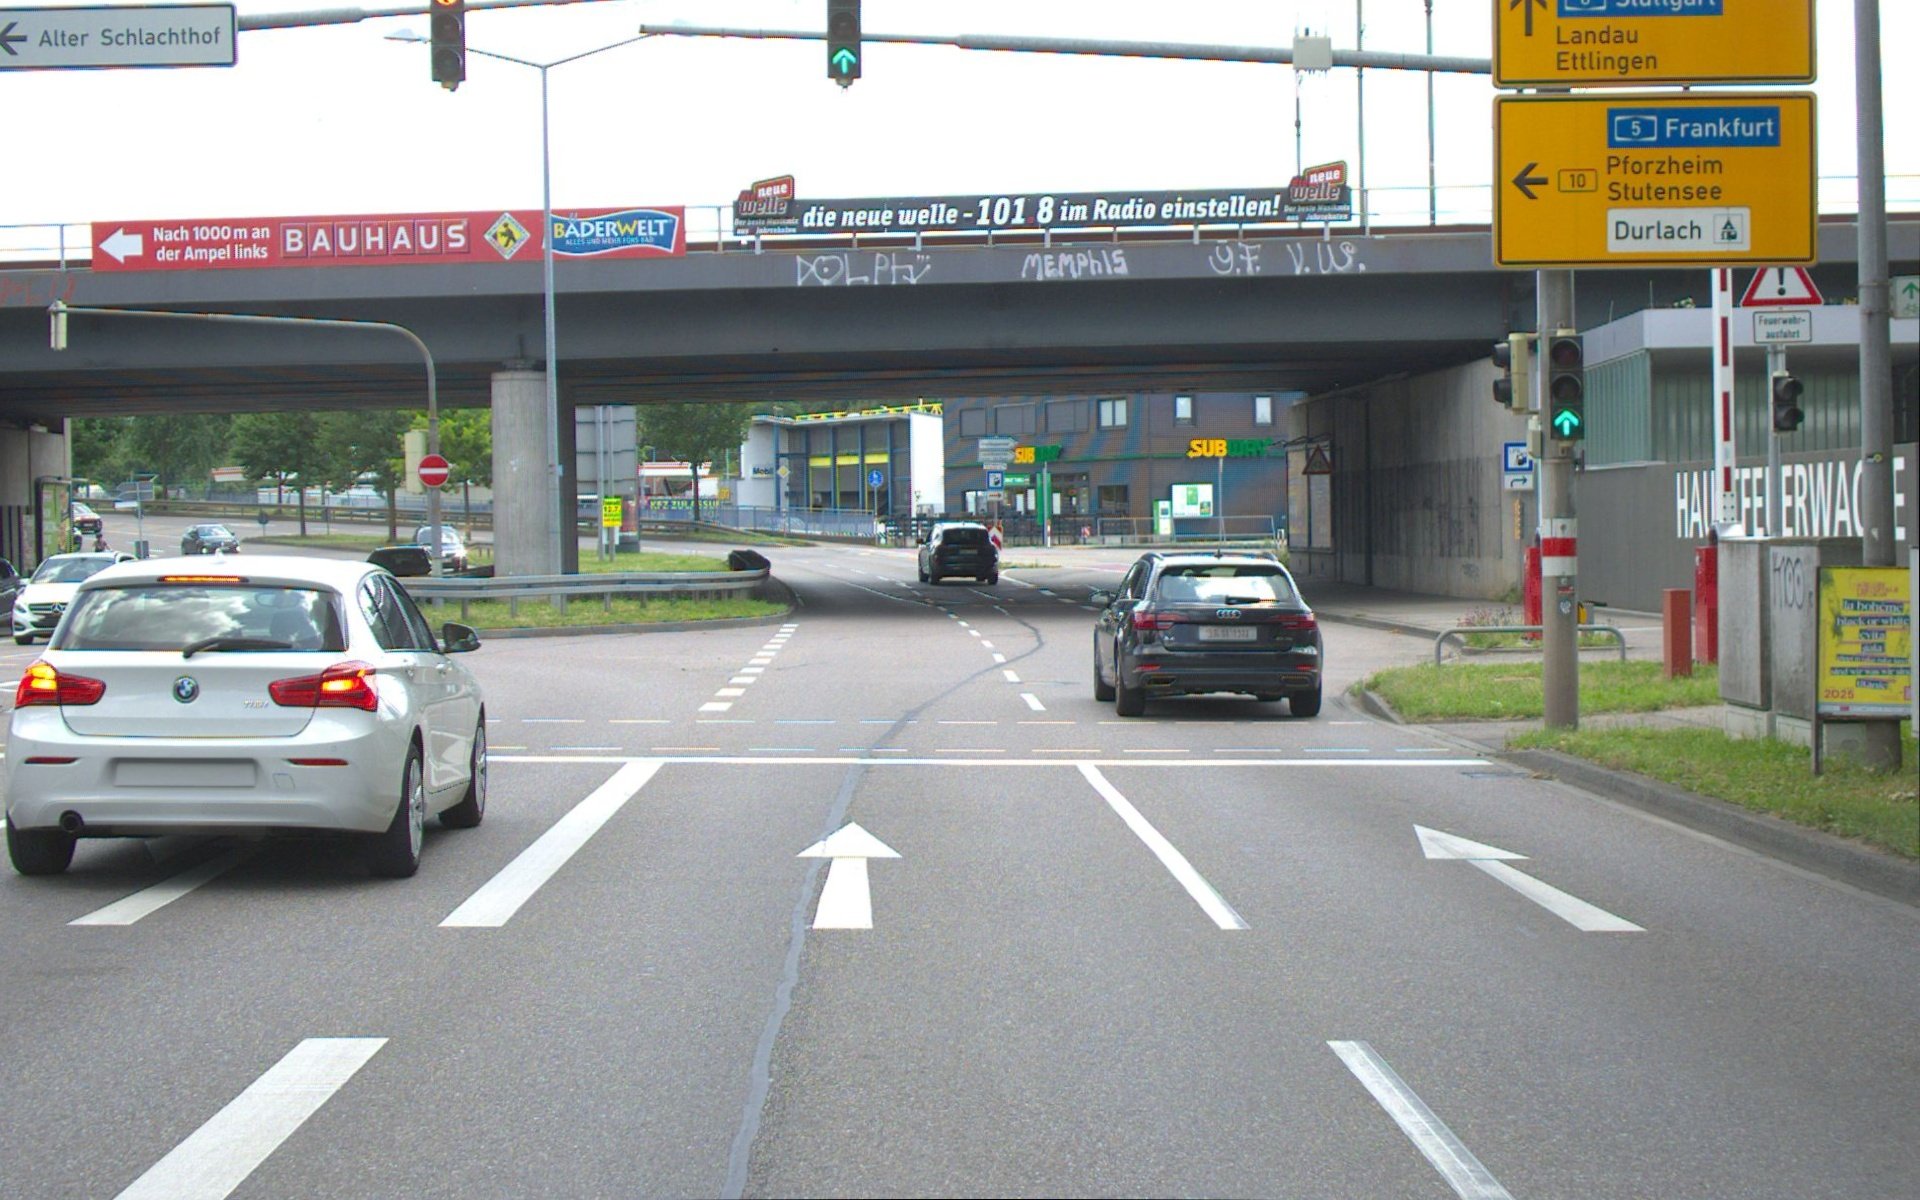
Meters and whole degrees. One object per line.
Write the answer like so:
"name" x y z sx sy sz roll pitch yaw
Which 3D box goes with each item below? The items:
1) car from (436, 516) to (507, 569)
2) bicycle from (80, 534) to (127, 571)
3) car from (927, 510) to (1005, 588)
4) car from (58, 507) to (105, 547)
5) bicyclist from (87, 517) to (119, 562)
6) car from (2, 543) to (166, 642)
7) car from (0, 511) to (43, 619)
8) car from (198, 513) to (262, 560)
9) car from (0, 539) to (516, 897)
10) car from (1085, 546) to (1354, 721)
"car" -16.854 -2.009 118.770 1.993 1.753 4.718 -1 1 -3
"bicycle" -26.791 -1.496 107.552 0.680 1.139 2.283 1 1 6
"car" 0.141 -1.387 93.607 1.993 2.030 4.713 -1 1 -1
"car" -45.611 -3.794 178.349 1.993 2.007 4.338 -1 2 -19
"bicyclist" -26.796 -1.893 107.468 0.682 1.403 0.924 0 1 6
"car" -15.218 -0.160 59.927 1.806 1.626 4.393 -1 1 -1
"car" -18.860 -0.650 64.799 1.993 2.007 4.000 -1 1 1
"car" -31.929 -2.780 150.465 1.993 2.007 4.337 -1 1 -3
"car" -3.348 0.457 16.507 1.915 1.410 4.296 2 1 -1
"car" 2.272 0.246 31.273 1.993 1.385 4.576 0 2 -1
